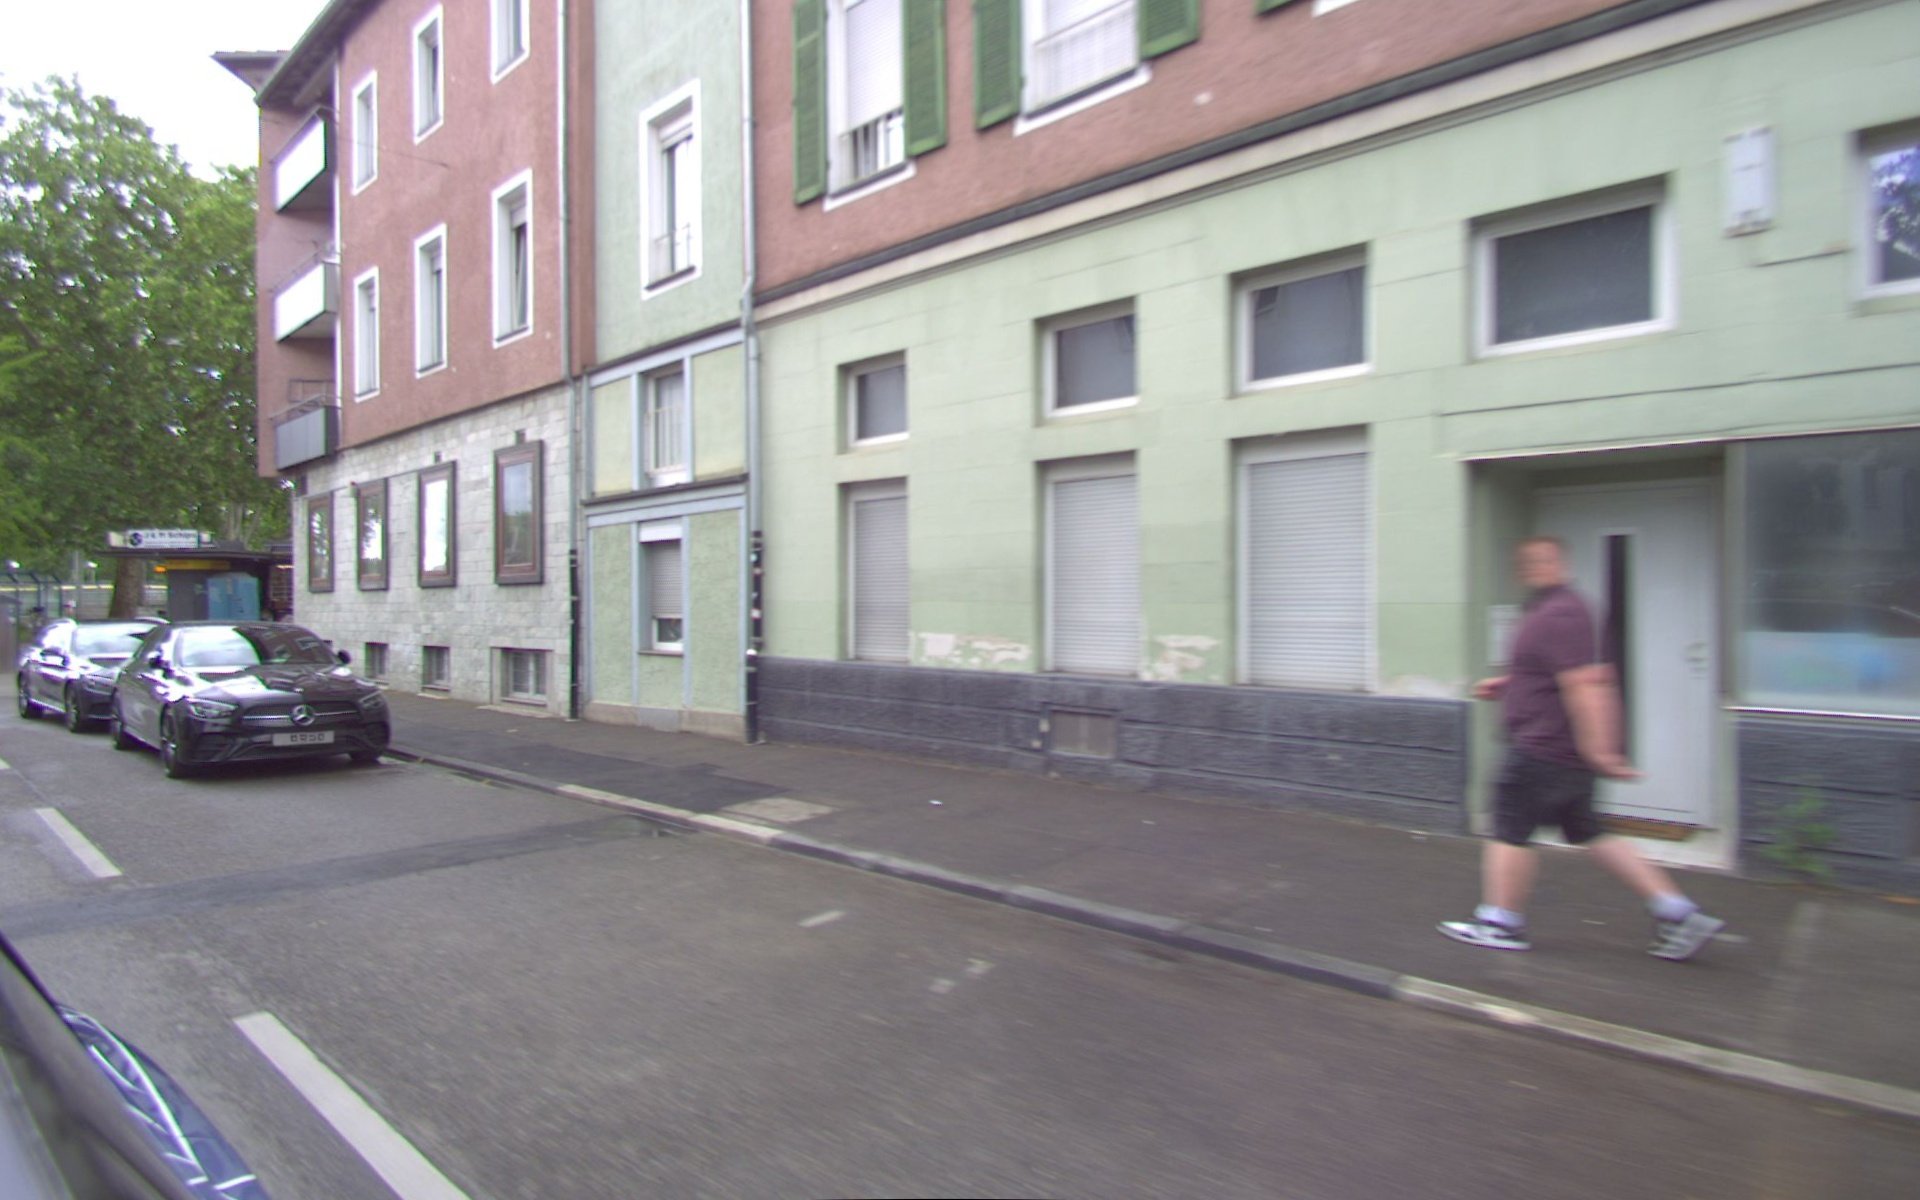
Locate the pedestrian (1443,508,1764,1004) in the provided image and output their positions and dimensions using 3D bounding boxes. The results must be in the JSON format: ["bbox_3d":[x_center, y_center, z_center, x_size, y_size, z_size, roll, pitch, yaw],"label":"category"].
[{"bbox_3d":[2.661,0.551,4.189,0.984,1.757,0.753,-2,1,40],"label":"pedestrian"}]

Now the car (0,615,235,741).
[{"bbox_3d":[-12.264,0.989,14.536,4.578,1.466,1.811,0,0,38],"label":"car"}]

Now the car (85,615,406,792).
[{"bbox_3d":[-8.013,0.937,11.132,4.919,1.466,1.810,0,0,41],"label":"car"}]

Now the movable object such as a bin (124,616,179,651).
[{"bbox_3d":[-24.430,1.005,30.599,1.064,0.971,0.673,-2,3,-1],"label":"movable object such as a bin"}]
